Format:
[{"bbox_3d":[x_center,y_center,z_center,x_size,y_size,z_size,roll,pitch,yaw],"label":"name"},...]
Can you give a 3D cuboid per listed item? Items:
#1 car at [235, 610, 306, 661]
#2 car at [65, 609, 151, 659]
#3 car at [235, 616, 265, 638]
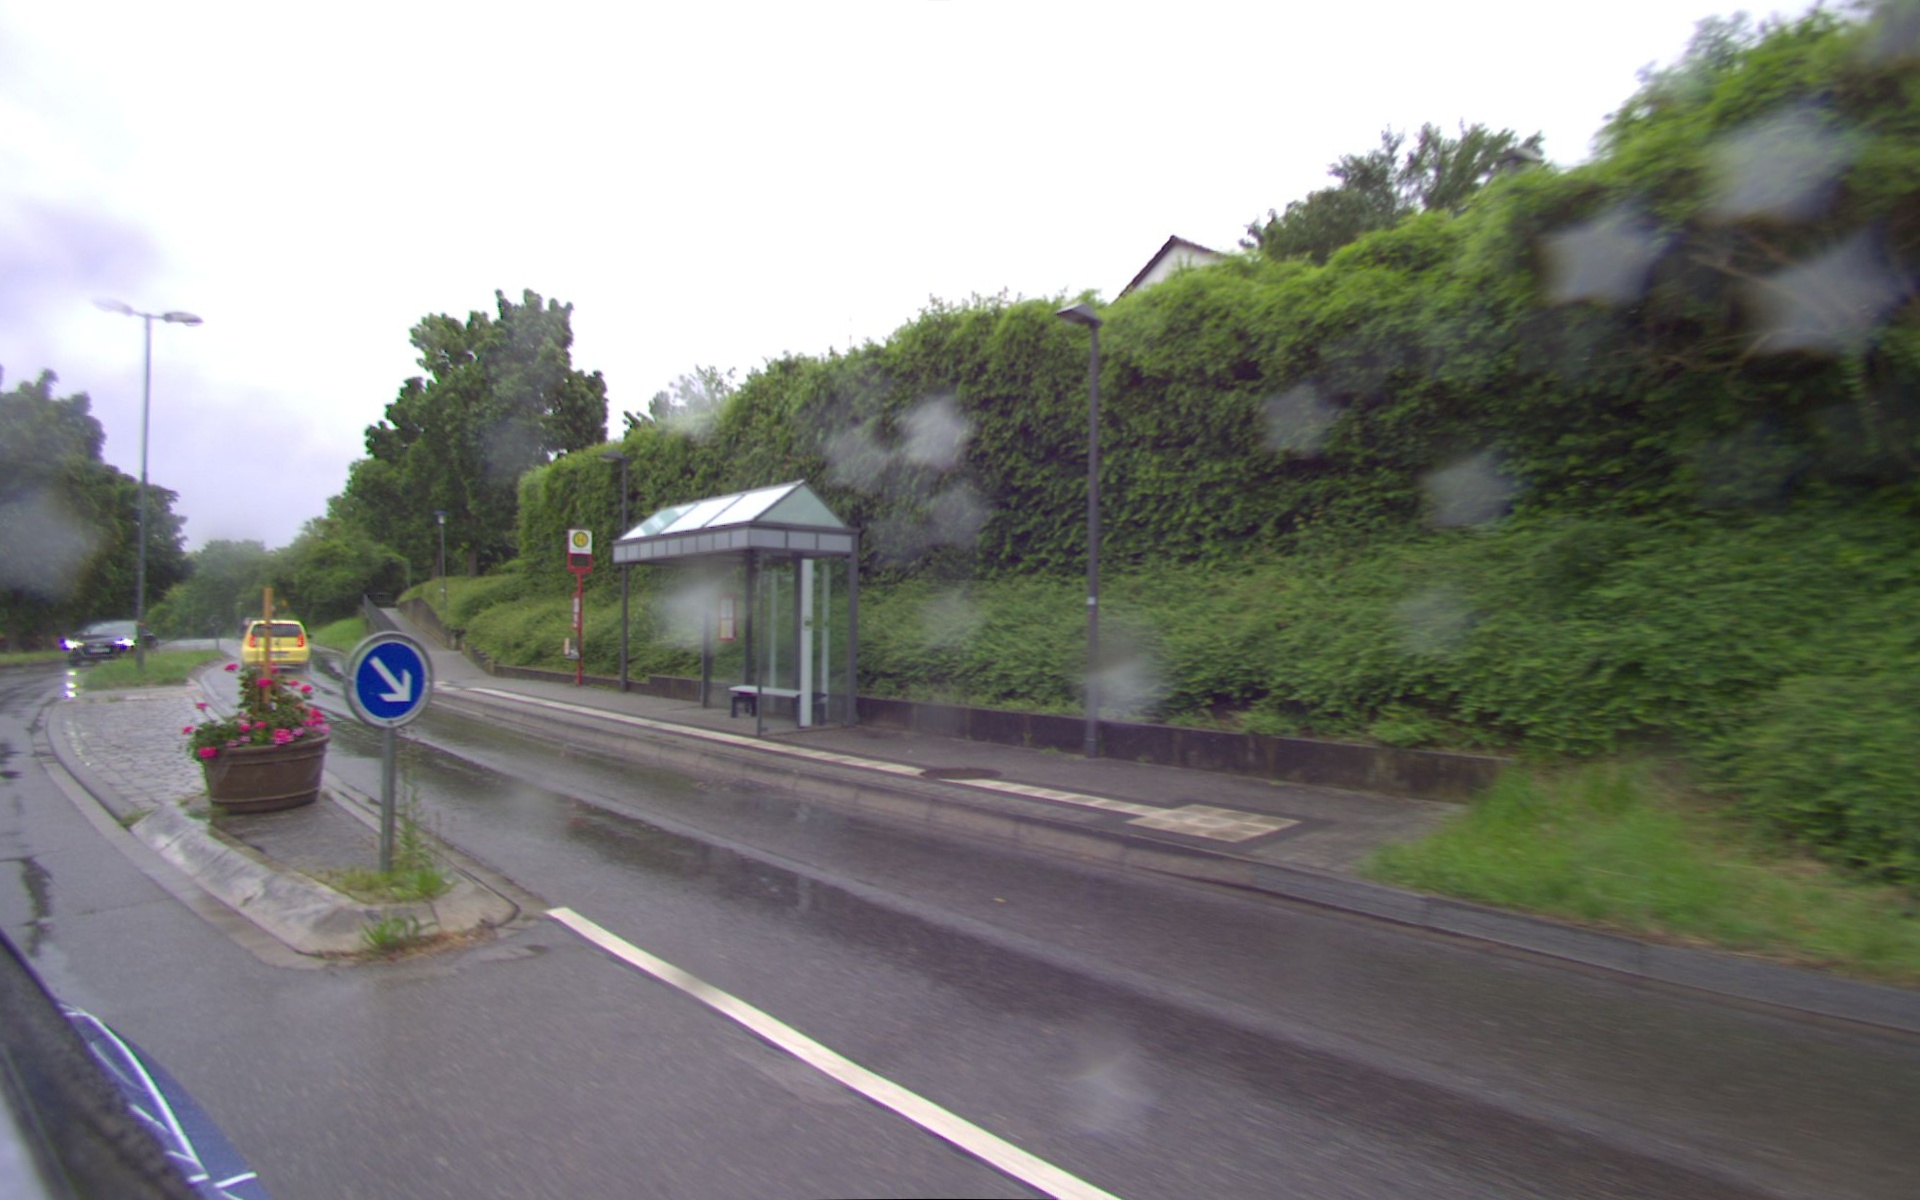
[{"bbox_3d":[-20.210,1.040,29.617,1.551,1.421,3.482,3,-3,-36],"label":"car"},{"bbox_3d":[-28.003,1.163,33.358,1.736,1.497,3.800,1,-4,-34],"label":"car"},{"bbox_3d":[-52.548,1.988,74.868,1.737,1.514,4.151,2,-2,-36],"label":"car"}]
